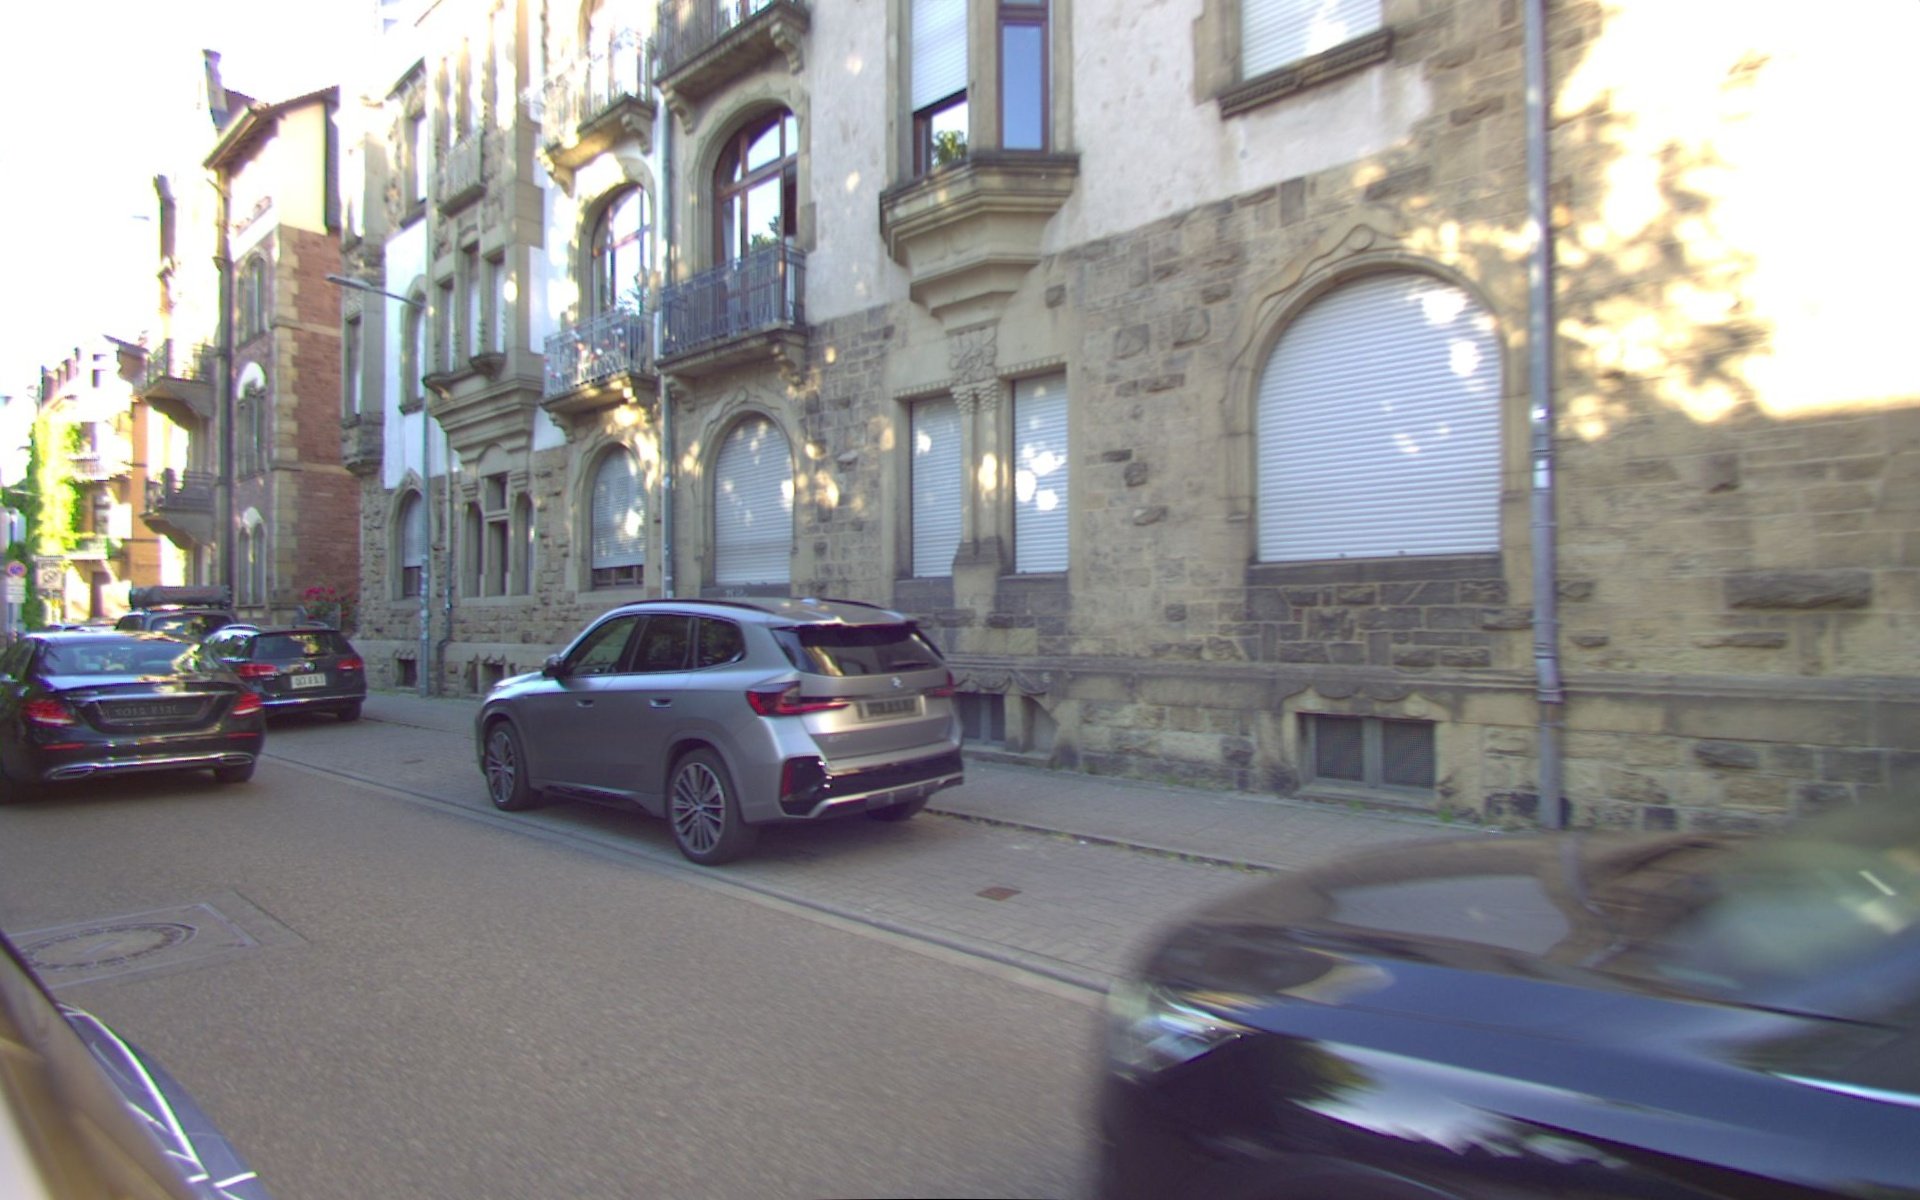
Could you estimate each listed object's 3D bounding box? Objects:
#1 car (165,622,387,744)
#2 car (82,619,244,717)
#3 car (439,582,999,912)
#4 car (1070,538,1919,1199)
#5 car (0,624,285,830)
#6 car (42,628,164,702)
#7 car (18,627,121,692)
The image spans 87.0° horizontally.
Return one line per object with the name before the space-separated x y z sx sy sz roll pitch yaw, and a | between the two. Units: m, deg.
car | -10.401 1.127 15.273 4.210 1.512 1.751 0 -1 41
car | -15.625 1.232 19.771 4.210 1.680 1.751 -1 0 41
car | -1.988 0.820 7.470 4.337 1.730 1.856 -2 -1 41
car | 2.104 0.694 0.953 3.758 1.489 1.610 -2 -3 41
car | -8.373 1.008 9.819 4.565 1.474 1.844 -1 0 40
car | -19.782 1.471 23.317 3.854 1.458 1.612 -3 0 42
car | -23.902 1.575 27.118 3.854 1.516 1.612 -3 0 42
